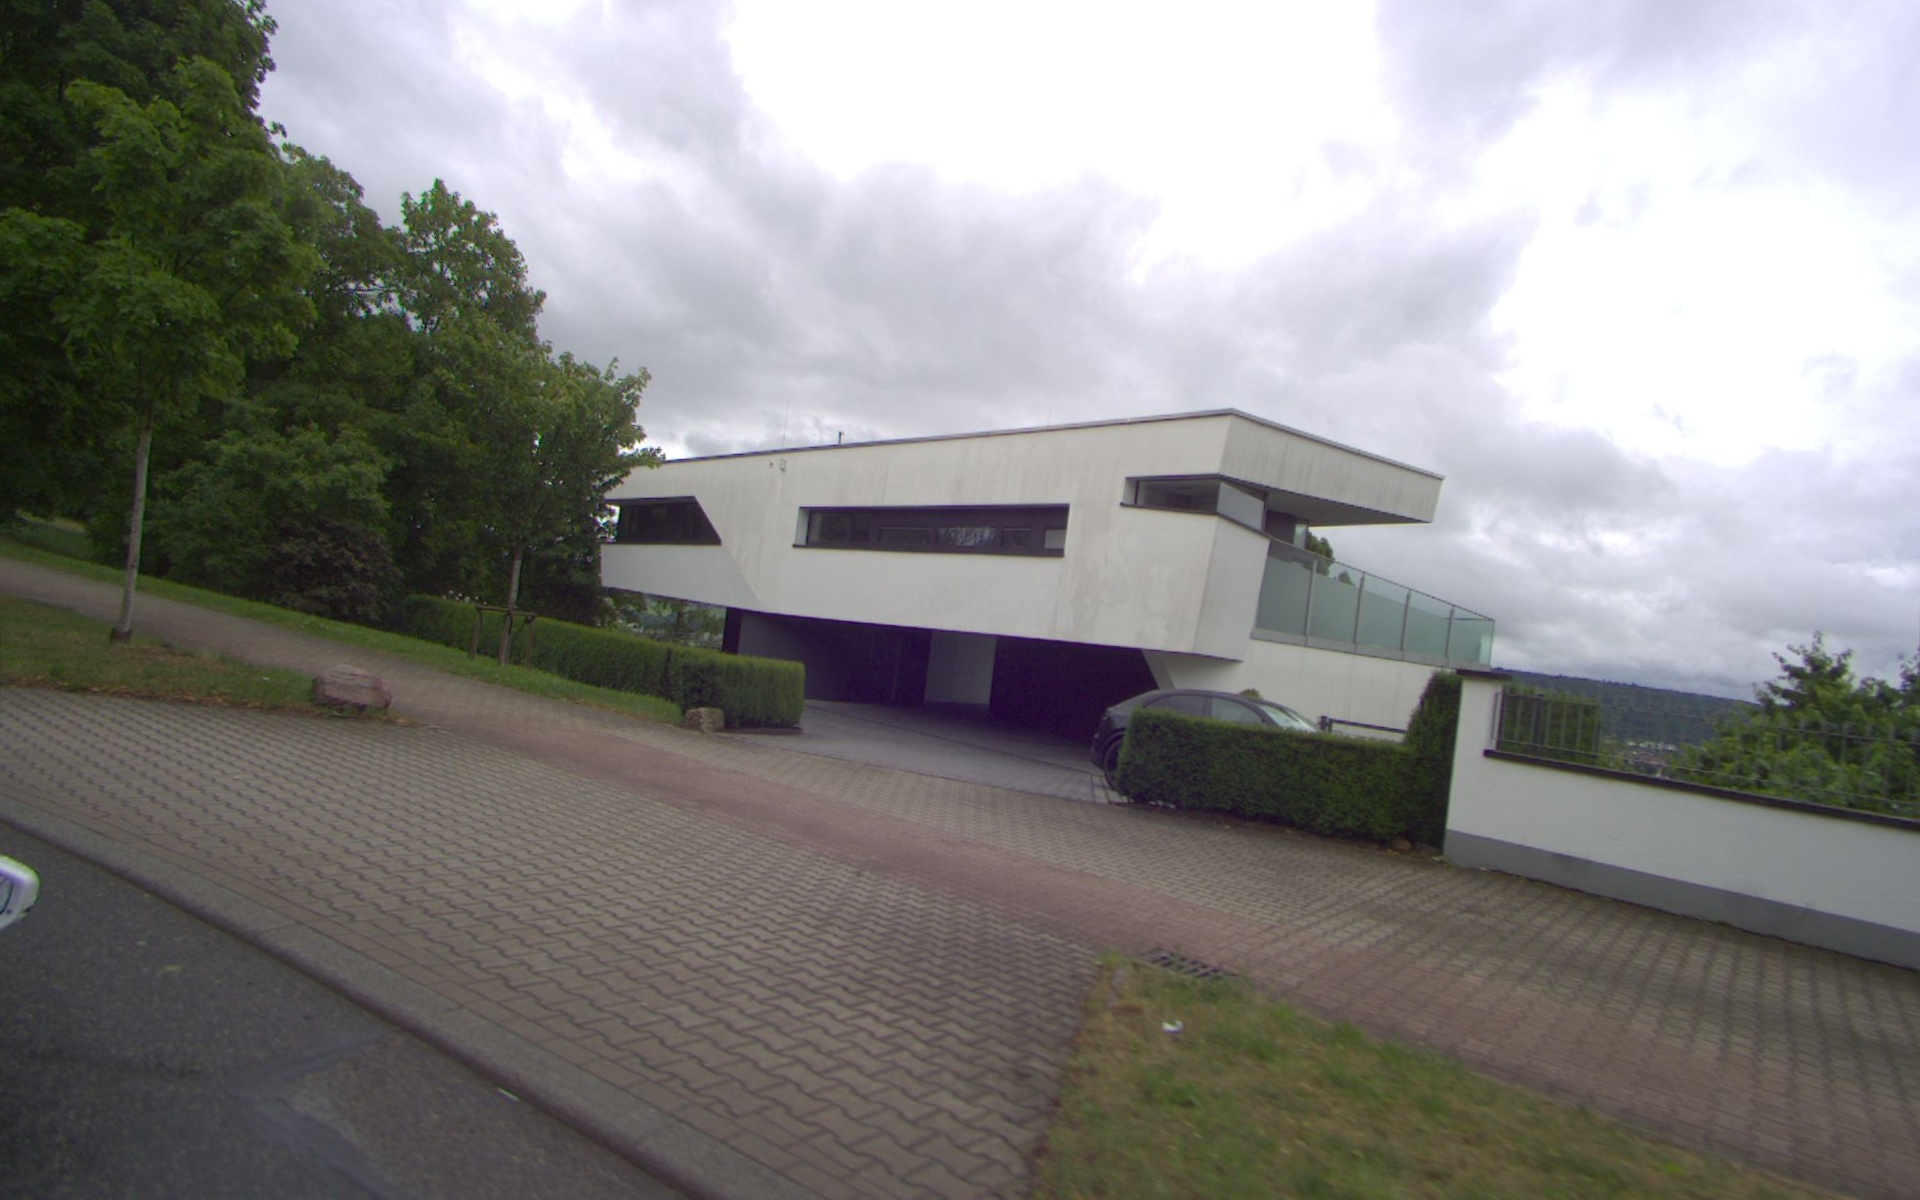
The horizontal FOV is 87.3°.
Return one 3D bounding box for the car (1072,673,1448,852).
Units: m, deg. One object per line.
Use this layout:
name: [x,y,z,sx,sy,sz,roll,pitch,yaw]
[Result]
car: [3.917,2.104,13.689,1.918,1.566,4.406,12,-5,-43]
